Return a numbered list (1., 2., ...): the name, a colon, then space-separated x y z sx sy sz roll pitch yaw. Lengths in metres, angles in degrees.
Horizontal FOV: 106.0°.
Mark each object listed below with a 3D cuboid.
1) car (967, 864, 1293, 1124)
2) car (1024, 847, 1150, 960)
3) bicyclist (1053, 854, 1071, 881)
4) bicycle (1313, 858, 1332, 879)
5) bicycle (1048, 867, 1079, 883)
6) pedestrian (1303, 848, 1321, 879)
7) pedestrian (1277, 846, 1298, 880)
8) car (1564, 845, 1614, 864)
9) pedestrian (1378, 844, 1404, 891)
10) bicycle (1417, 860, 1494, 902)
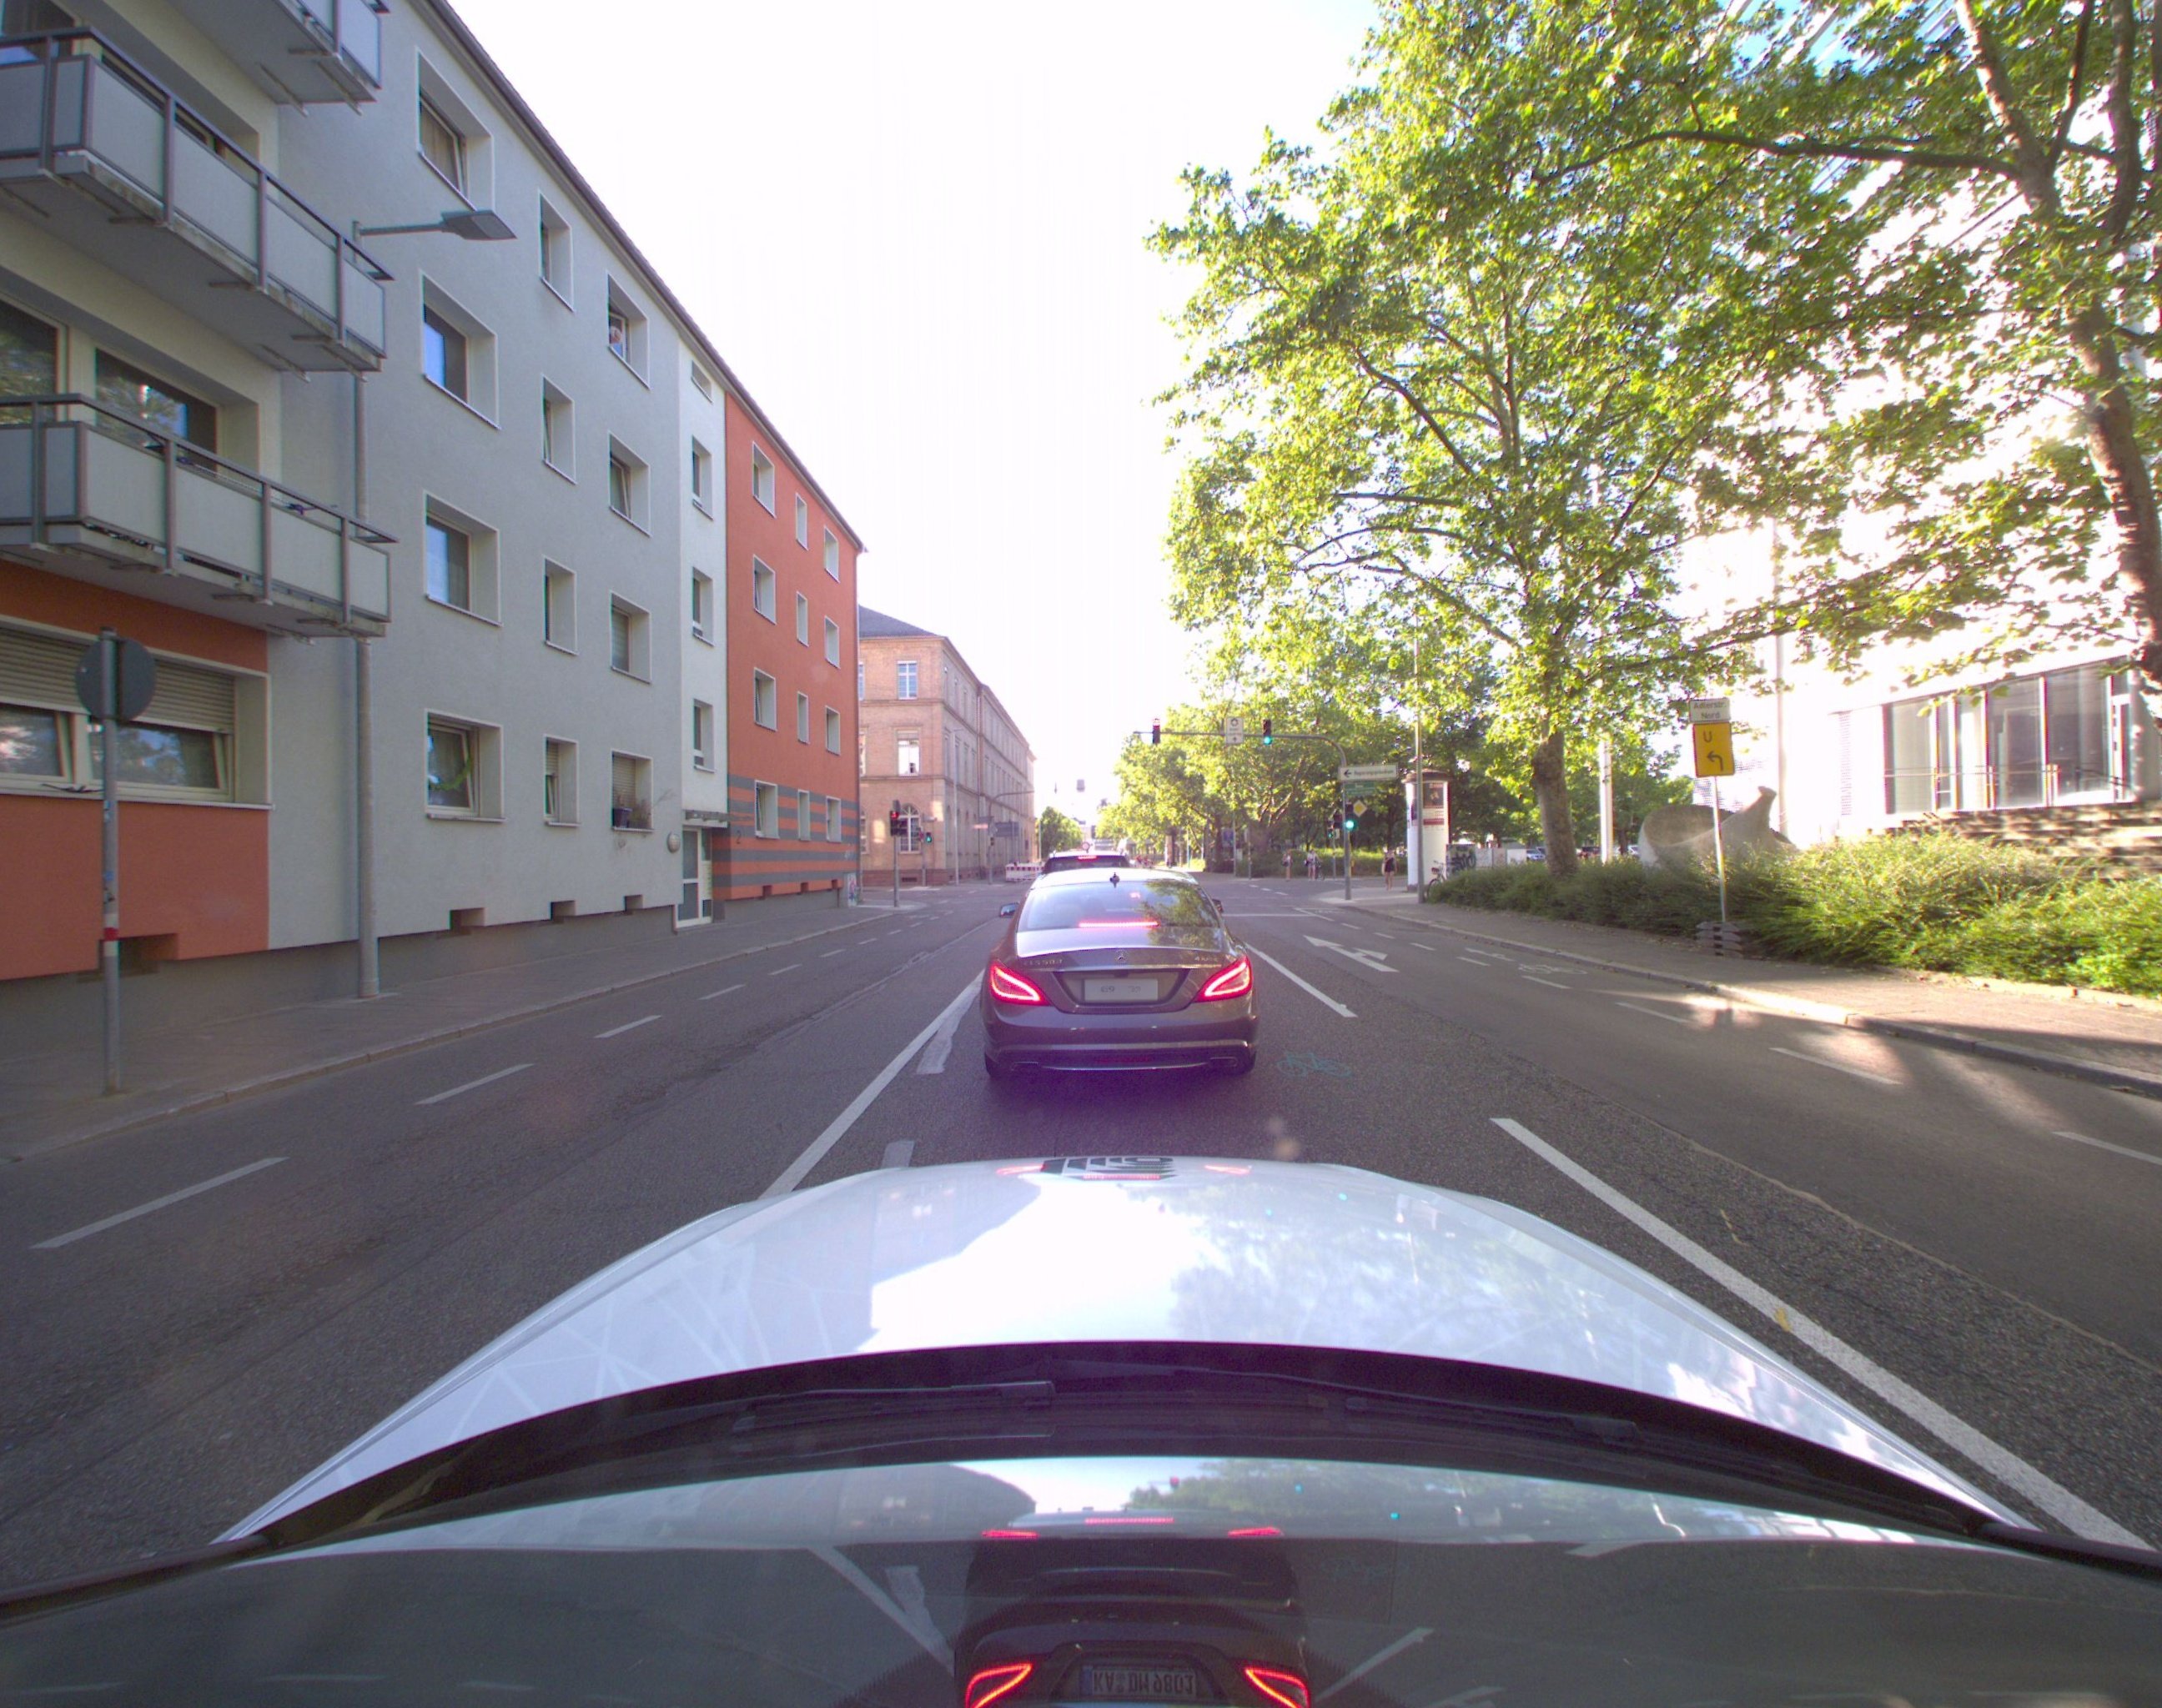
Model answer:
1. car: 0.274 0.813 6.865 1.837 1.429 4.516 0 0 0
2. car: 0.204 0.742 13.869 1.801 1.612 4.003 -1 -1 3
3. bicyclist: -1.123 0.789 48.517 0.810 1.558 0.643 0 -1 -34
4. bicycle: 13.177 0.792 44.481 0.522 1.100 1.741 0 -1 0
5. bicycle: -1.039 1.238 48.591 1.875 0.891 0.544 0 -1 -34
6. pedestrian: 12.658 0.506 44.714 0.681 1.697 0.970 0 -1 -1
7. pedestrian: 11.341 0.504 44.747 0.732 1.808 0.906 -1 -2 -10
8. car: 39.746 0.061 63.831 1.624 1.483 3.796 0 -1 1
9. pedestrian: 11.219 0.493 29.509 0.791 1.630 0.912 -2 -1 19
10. bicycle: 10.805 0.774 23.510 1.969 1.190 0.528 0 -1 0
